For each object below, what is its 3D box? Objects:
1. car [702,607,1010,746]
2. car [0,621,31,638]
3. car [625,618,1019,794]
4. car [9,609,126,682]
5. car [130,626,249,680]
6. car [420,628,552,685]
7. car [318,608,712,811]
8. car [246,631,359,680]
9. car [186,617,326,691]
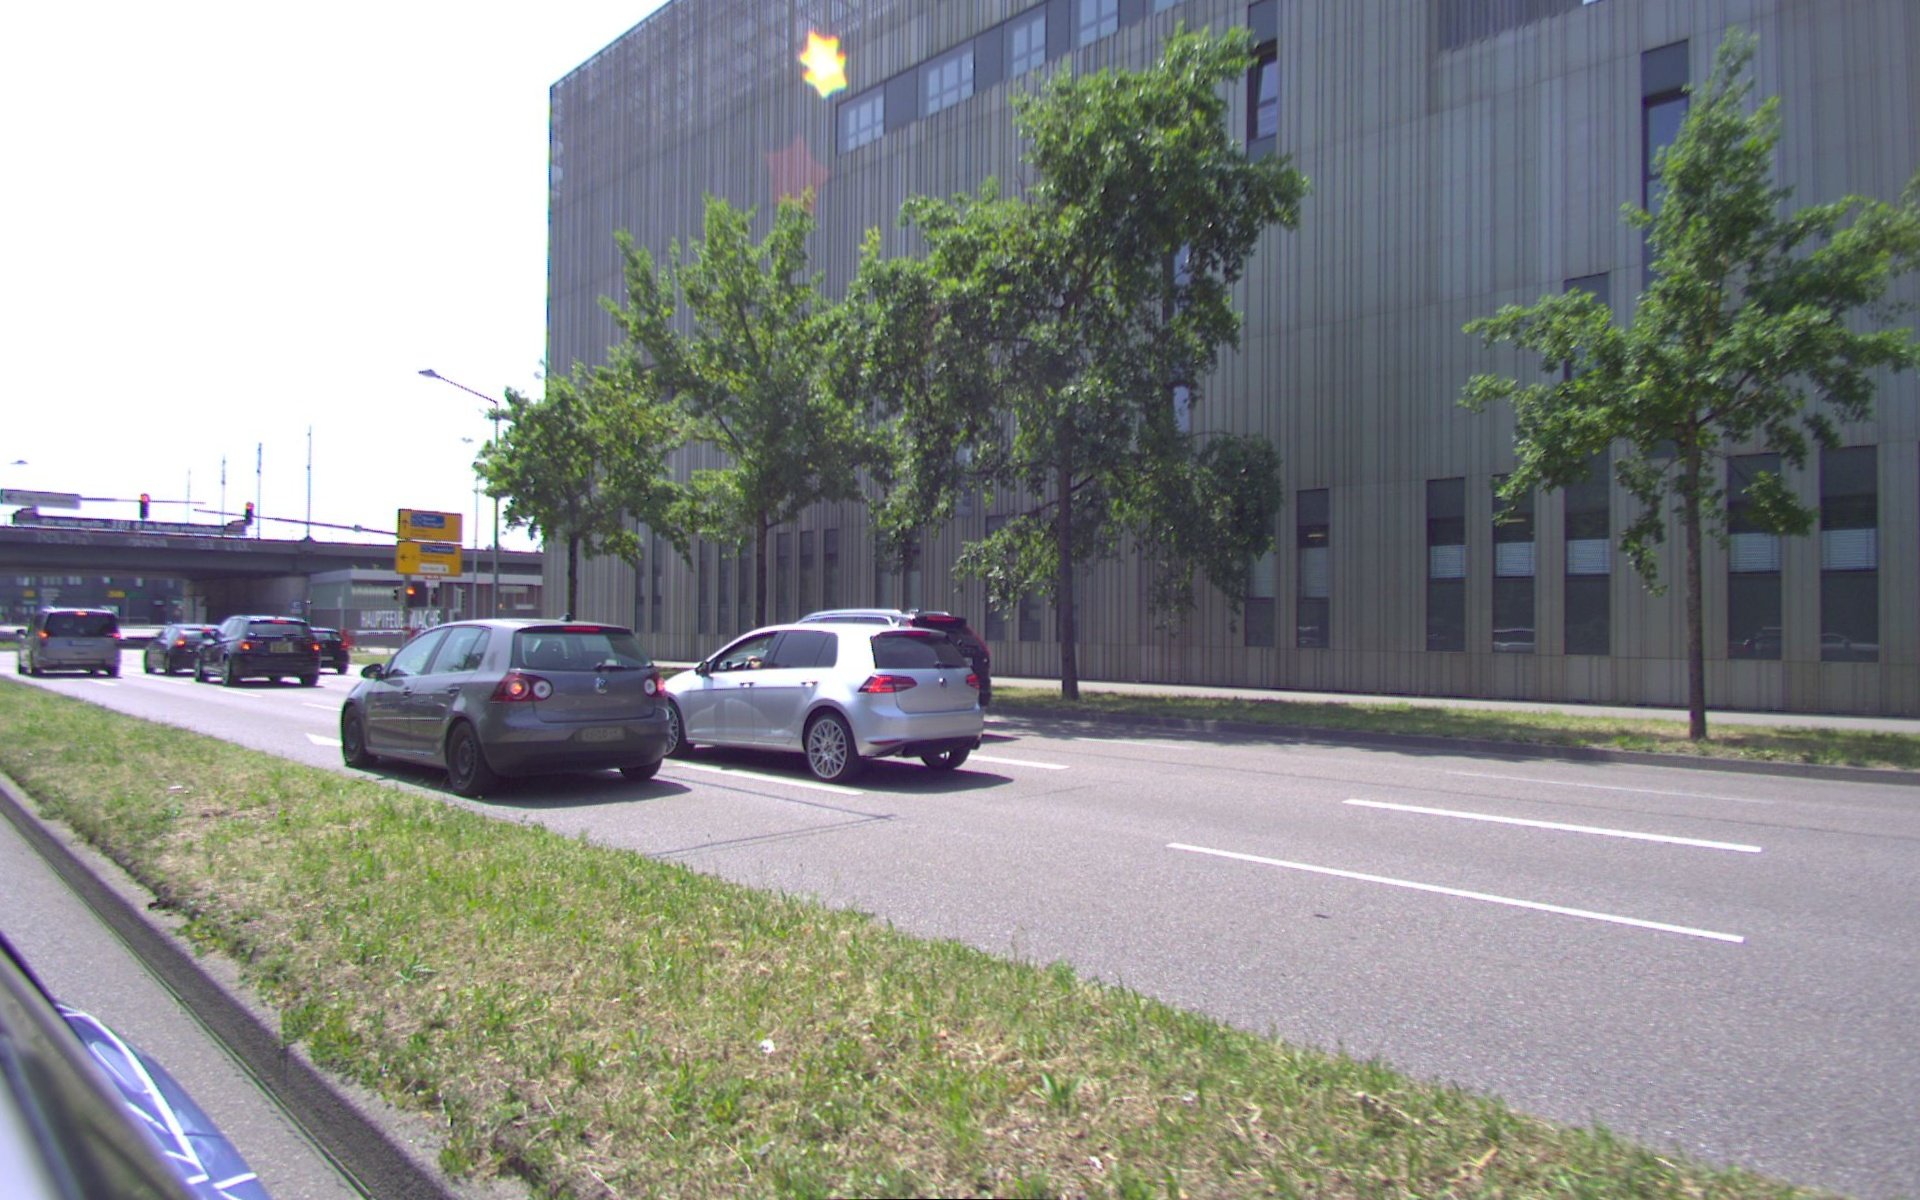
[{"bbox_3d":[-1.658,1.048,15.021,4.642,1.760,1.792,-1,-3,40],"label":"car"},{"bbox_3d":[-97.339,3.030,102.855,3.932,1.697,2.006,1,-2,-32],"label":"car"},{"bbox_3d":[-1.559,0.957,10.506,4.142,1.471,1.747,-1,-3,41],"label":"car"},{"bbox_3d":[-24.334,1.222,27.530,4.712,1.815,1.791,-2,-4,42],"label":"car"},{"bbox_3d":[-22.489,1.511,29.493,4.246,1.457,1.792,-1,-3,40],"label":"car"},{"bbox_3d":[-14.103,1.660,30.040,4.365,1.555,1.792,-2,-4,39],"label":"car"},{"bbox_3d":[-4.272,0.873,9.439,4.055,1.477,1.791,-1,-3,41],"label":"car"},{"bbox_3d":[-20.965,1.726,32.221,4.246,1.428,1.792,-1,-3,40],"label":"car"},{"bbox_3d":[-17.380,1.283,24.910,4.571,1.676,1.783,-1,-3,42],"label":"car"}]
